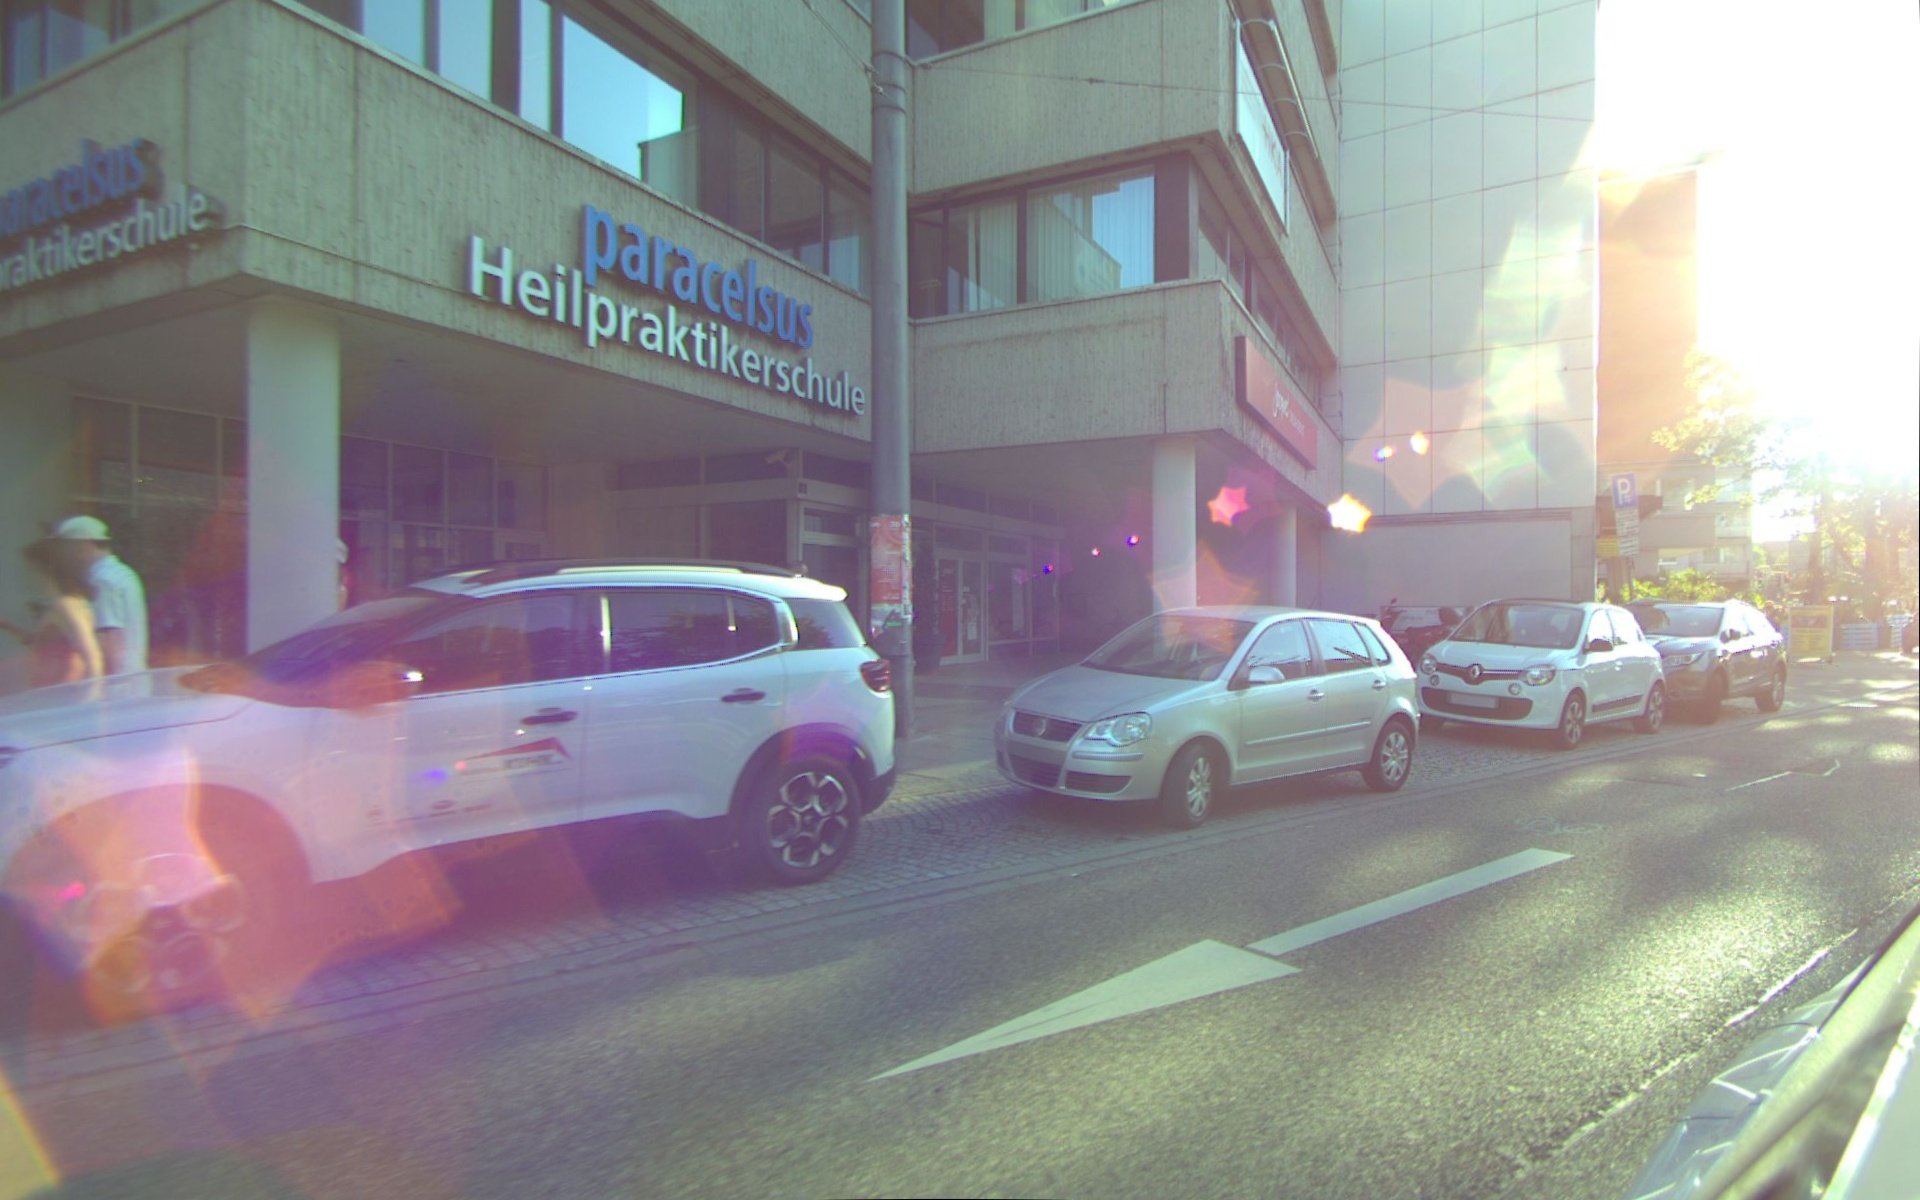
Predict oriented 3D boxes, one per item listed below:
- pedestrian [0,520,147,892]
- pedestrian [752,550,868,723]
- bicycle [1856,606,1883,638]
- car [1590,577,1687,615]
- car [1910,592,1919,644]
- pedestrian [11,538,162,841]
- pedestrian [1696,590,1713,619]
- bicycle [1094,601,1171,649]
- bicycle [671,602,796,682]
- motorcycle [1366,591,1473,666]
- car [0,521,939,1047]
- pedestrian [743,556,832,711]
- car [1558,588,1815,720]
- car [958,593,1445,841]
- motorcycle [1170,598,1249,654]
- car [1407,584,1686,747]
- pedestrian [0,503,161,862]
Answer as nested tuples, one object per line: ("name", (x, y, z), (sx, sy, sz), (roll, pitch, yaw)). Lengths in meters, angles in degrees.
("pedestrian", (-4.594, 0.495, 5.165), (0.649, 1.781, 0.580), (0, 2, -36))
("pedestrian", (-1.605, 0.362, 10.844), (1.013, 1.749, 0.699), (0, 0, -37))
("bicycle", (34.273, 0.814, 38.151), (0.418, 1.173, 1.736), (-1, -1, 30))
("car", (45.513, -0.241, 68.055), (5.221, 2.514, 1.906), (-1, -1, 30))
("car", (29.847, 0.530, 30.204), (3.830, 1.490, 1.732), (-1, 2, -40))
("pedestrian", (-5.413, 0.508, 6.310), (0.649, 1.761, 0.624), (0, 2, -36))
("pedestrian", (44.154, 0.258, 60.026), (0.724, 1.683, 0.896), (-1, -1, 31))
("bicycle", (4.235, 0.596, 24.947), (1.862, 1.088, 0.477), (2, 1, 40))
("bicycle", (-3.299, 0.590, 14.732), (1.733, 1.085, 0.482), (1, 0, 14))
("motorcycle", (8.834, 0.523, 19.507), (1.781, 1.348, 0.574), (2, 1, 41))
("car", (-2.423, 0.558, 5.136), (4.424, 1.735, 1.872), (-1, 2, -39))
("pedestrian", (-1.998, 0.355, 11.650), (0.630, 1.694, 0.992), (0, 0, -37))
("car", (10.454, 0.646, 14.468), (4.156, 1.576, 1.787), (0, 2, -37))
("car", (2.004, 0.702, 7.975), (3.782, 1.459, 1.667), (0, 2, -36))
("motorcycle", (5.699, 0.579, 23.243), (0.519, 1.220, 2.022), (0, 0, -28))
("car", (6.900, 0.629, 11.800), (3.545, 1.576, 1.612), (0, 2, -38))
("pedestrian", (-4.955, 0.420, 5.725), (0.649, 1.881, 0.624), (0, 2, -36))
